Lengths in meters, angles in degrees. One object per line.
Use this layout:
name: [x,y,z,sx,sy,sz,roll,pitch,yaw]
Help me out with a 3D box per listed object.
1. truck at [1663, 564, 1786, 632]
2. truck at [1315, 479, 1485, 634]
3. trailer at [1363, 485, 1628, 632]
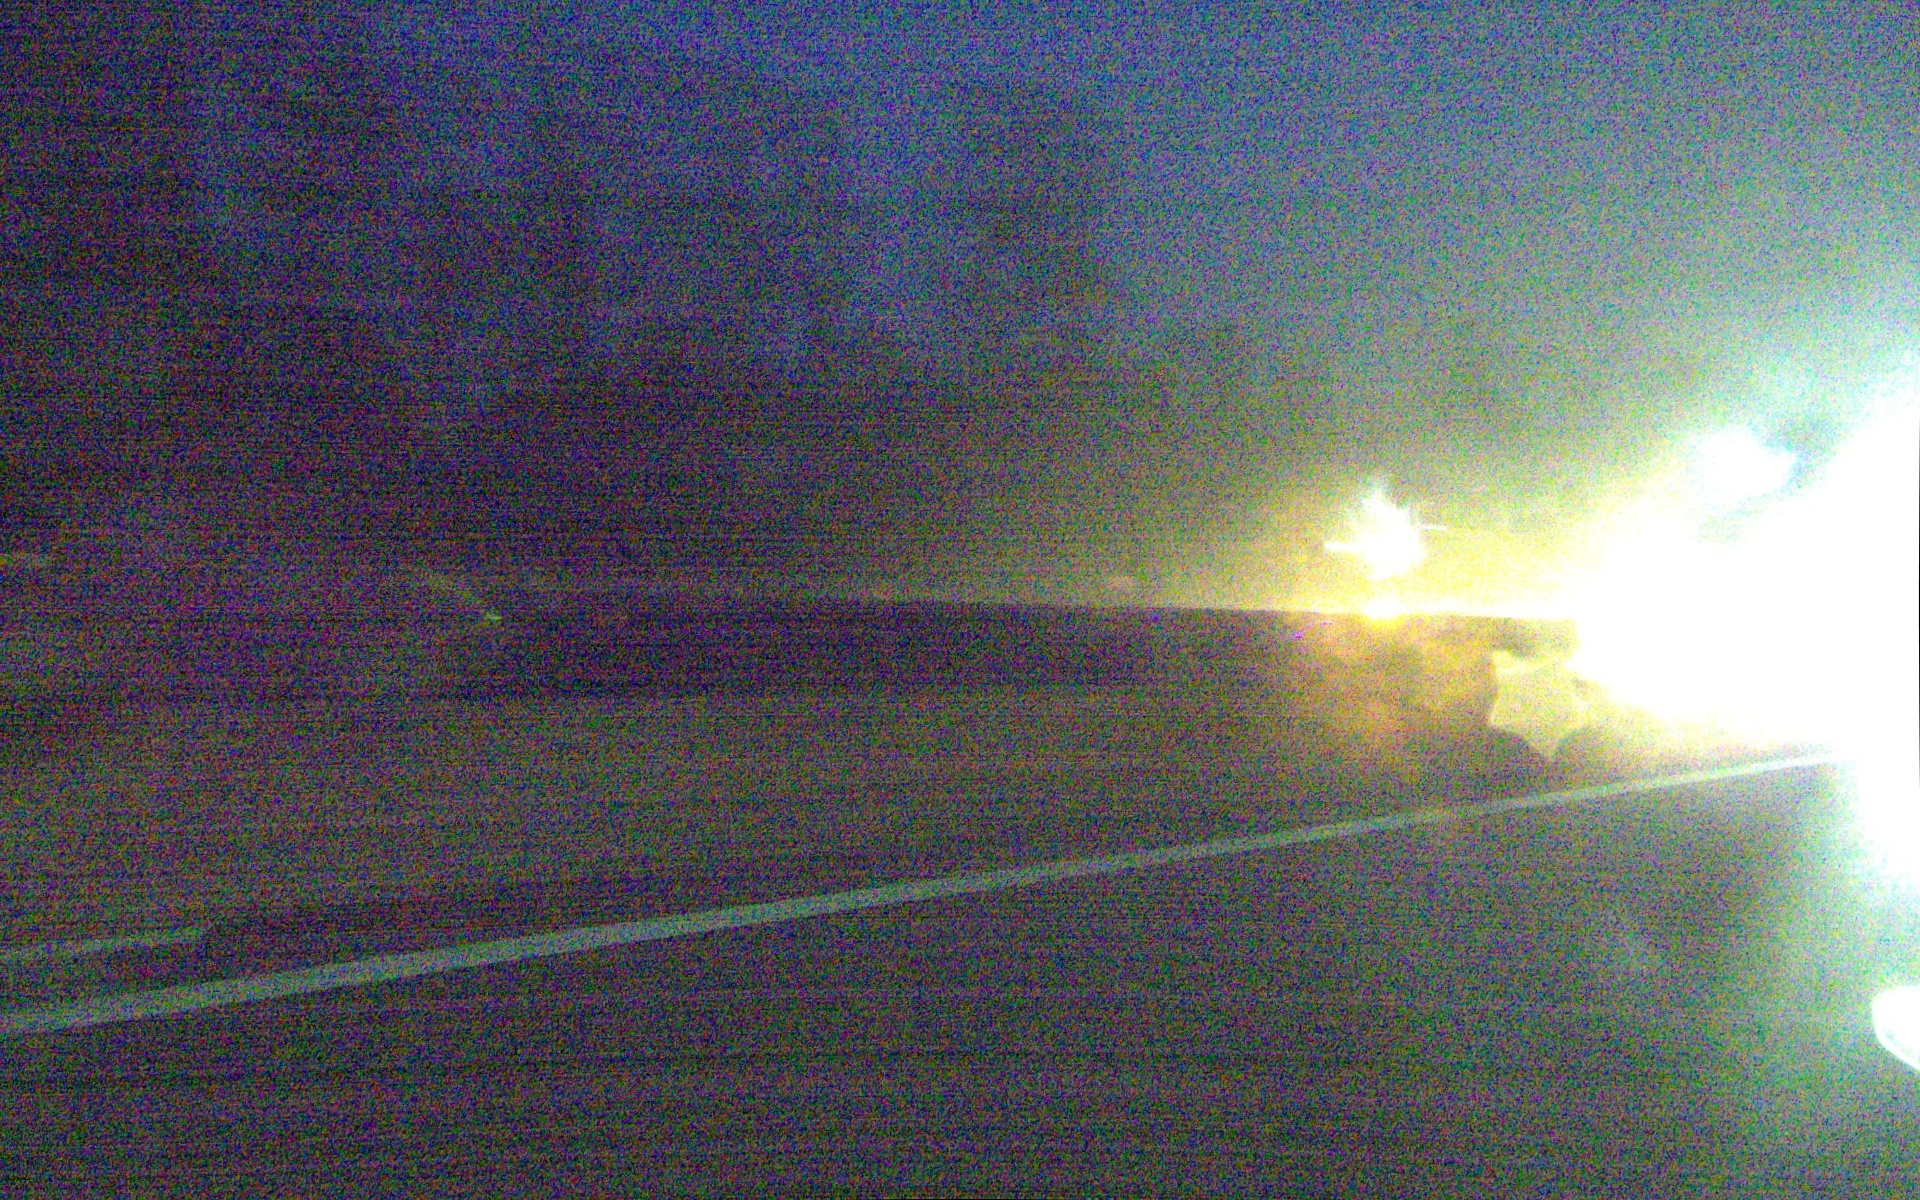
truck: [33.346,-0.075,43.769,6.058,2.708,2.271,1,4,-34]
truck: [16.007,-1.578,36.480,5.822,5.167,2.734,-1,5,-35]
trailer: [22.035,-1.633,40.642,14.782,5.161,2.753,-1,5,-35]
